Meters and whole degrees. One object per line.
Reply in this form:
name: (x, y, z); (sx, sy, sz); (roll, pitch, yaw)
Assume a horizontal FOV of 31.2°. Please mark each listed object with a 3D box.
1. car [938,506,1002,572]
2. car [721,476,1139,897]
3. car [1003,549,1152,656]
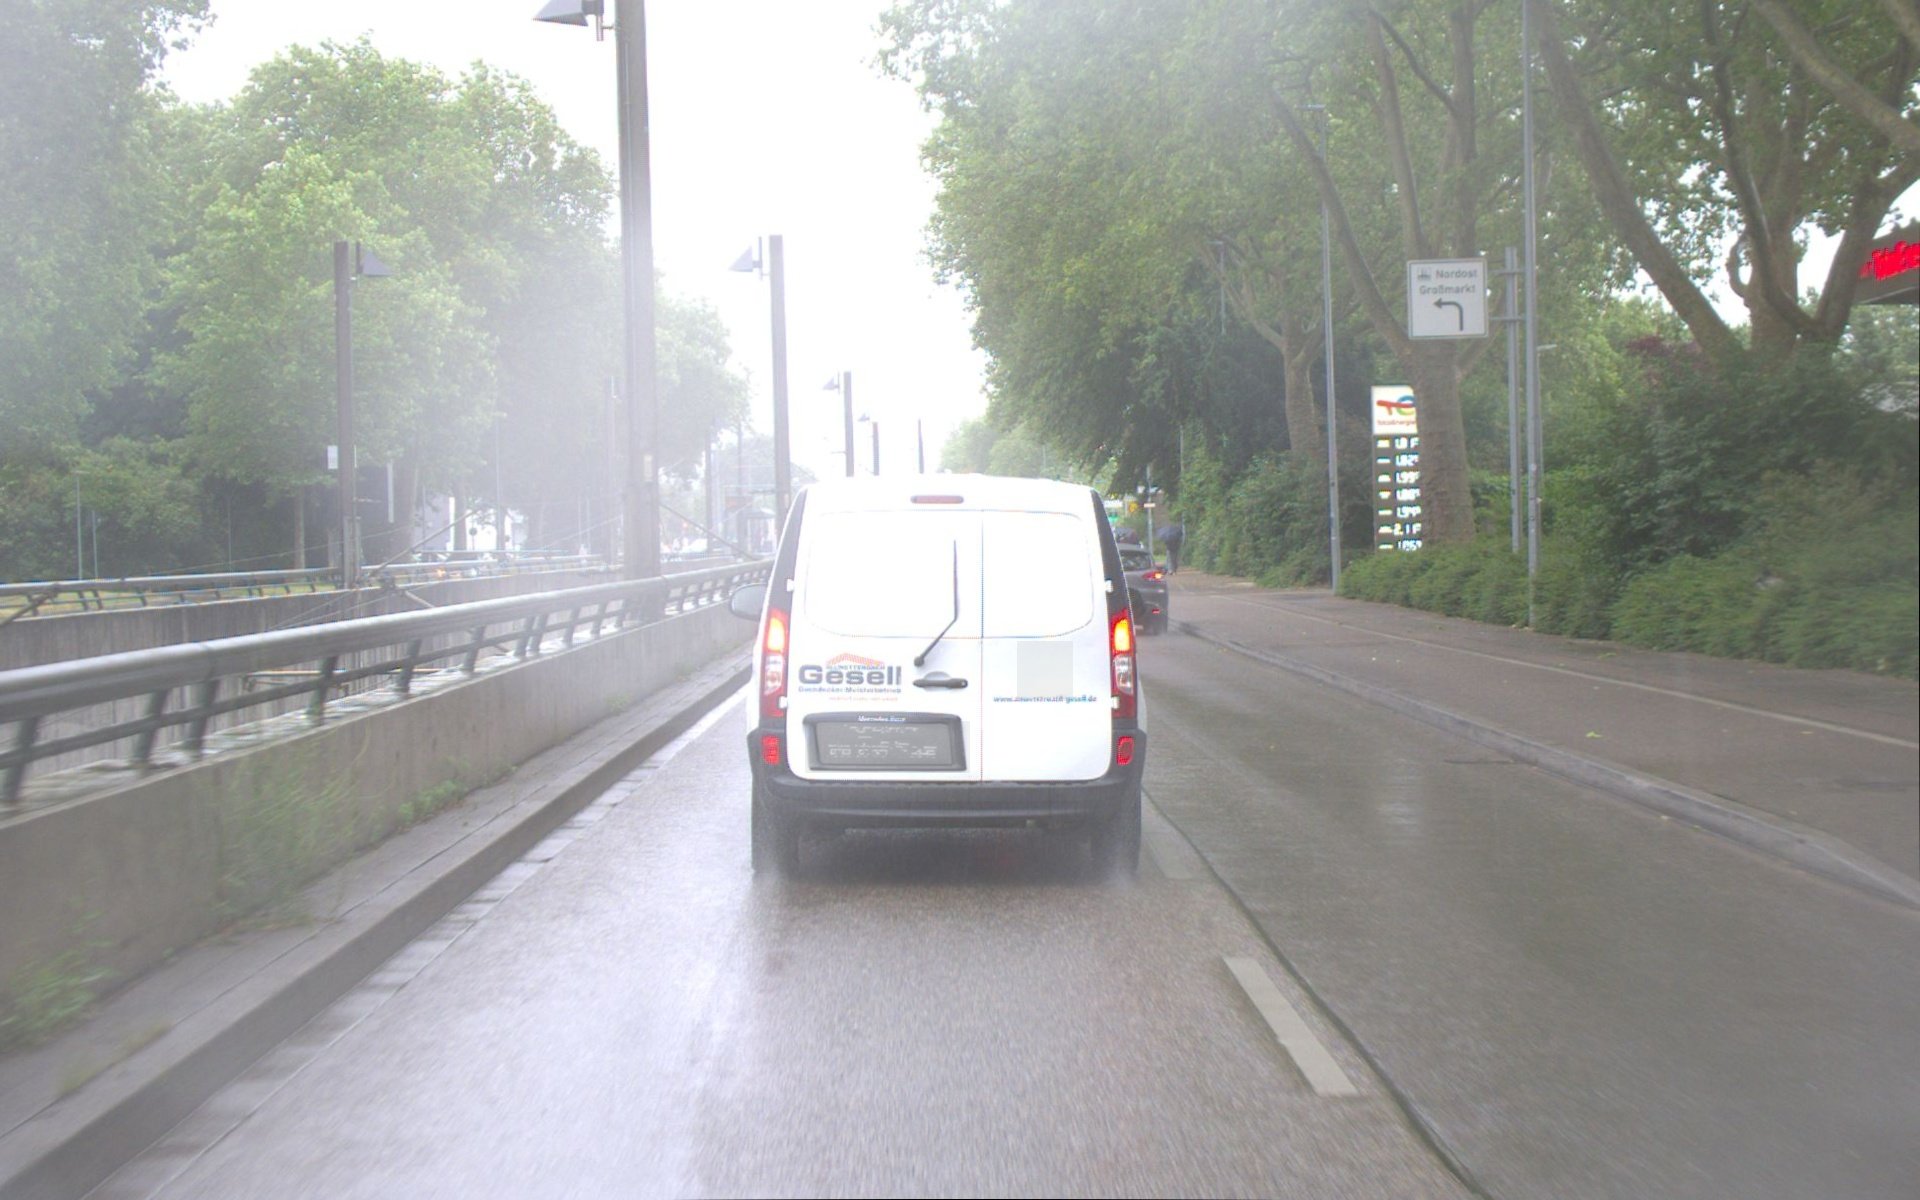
car: (0.345, -2.023, 114.476); (2.048, 2.133, 4.000); (-1, 0, 1)
car: (-0.165, 0.337, 16.467); (1.756, 1.771, 4.000); (0, 1, -1)
car: (1.836, 0.023, 54.768); (1.993, 1.579, 4.000); (-2, 0, -3)
